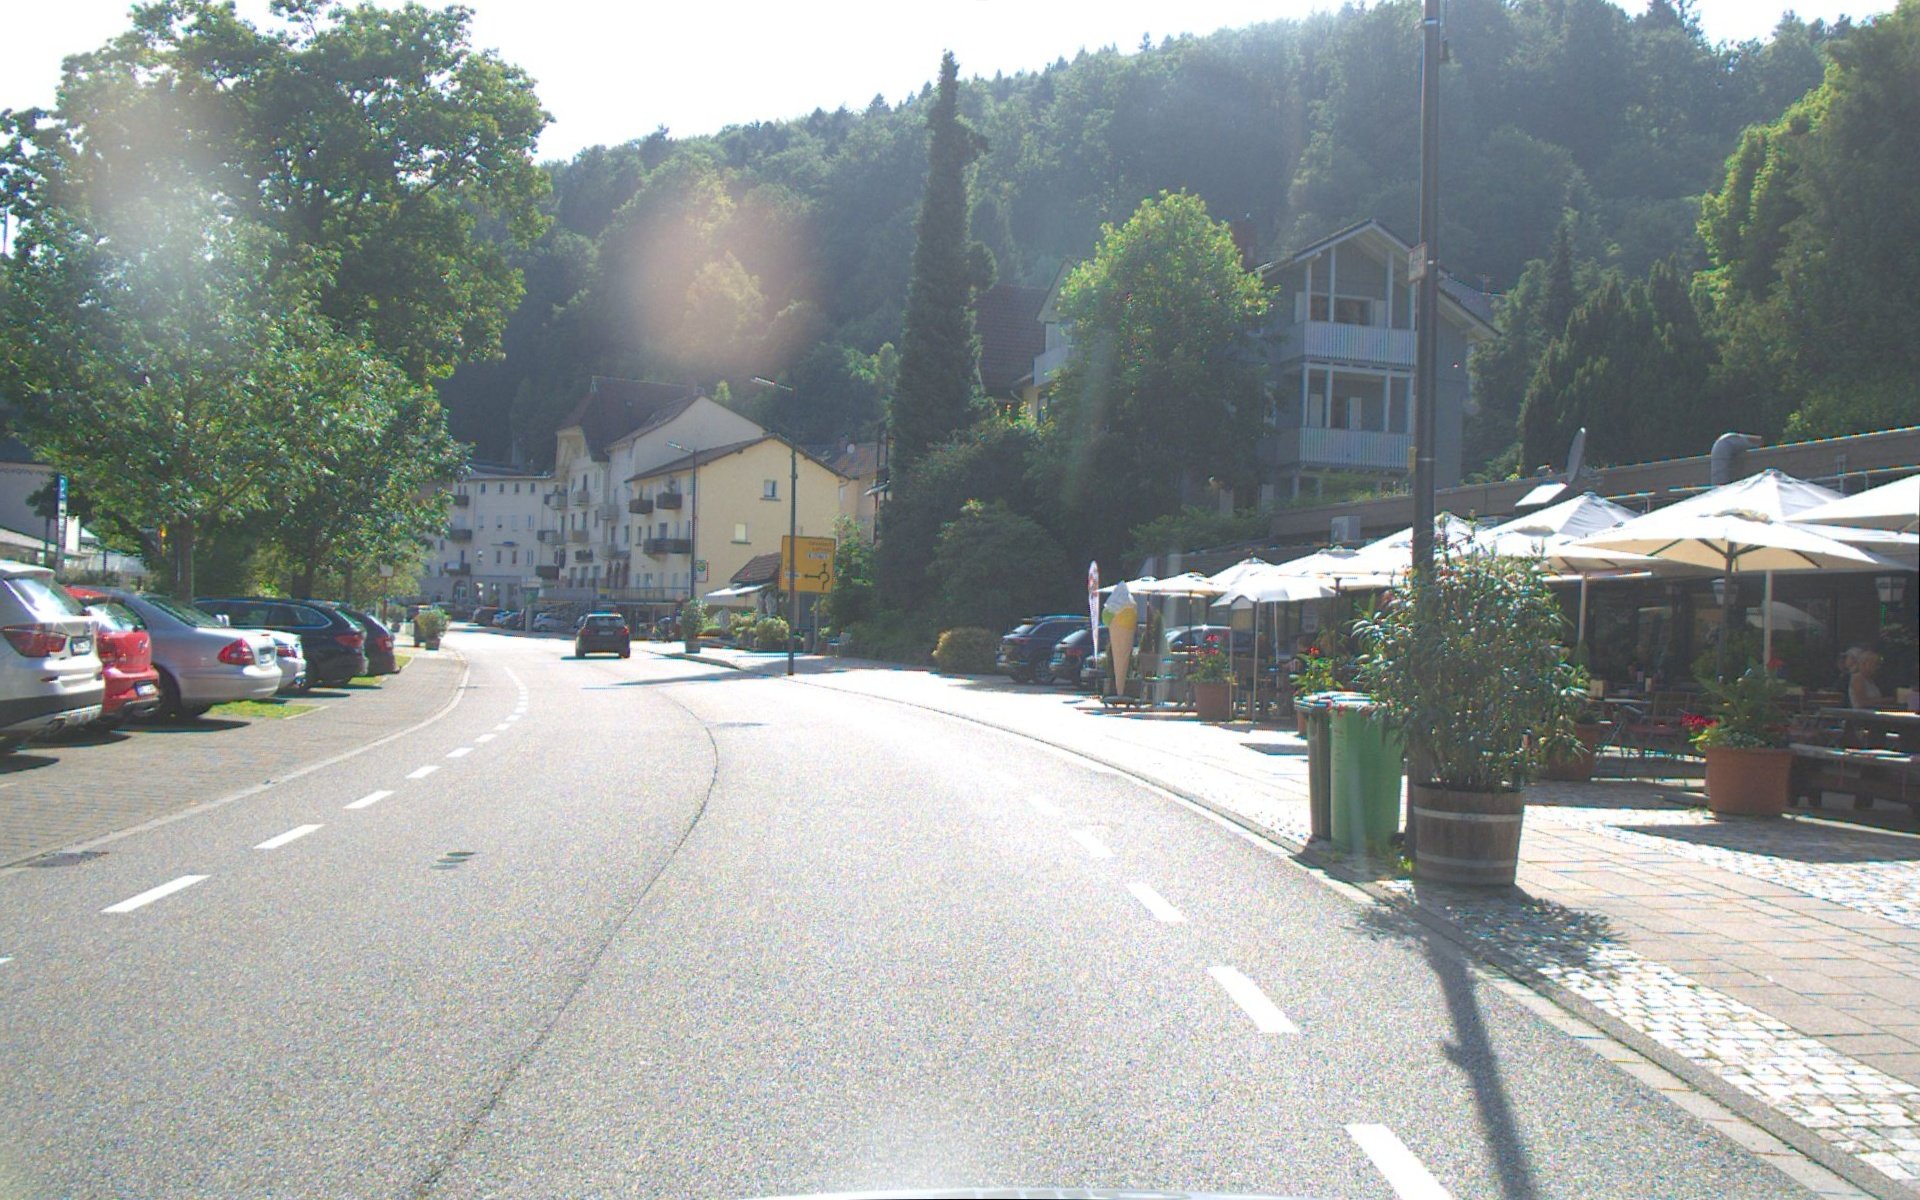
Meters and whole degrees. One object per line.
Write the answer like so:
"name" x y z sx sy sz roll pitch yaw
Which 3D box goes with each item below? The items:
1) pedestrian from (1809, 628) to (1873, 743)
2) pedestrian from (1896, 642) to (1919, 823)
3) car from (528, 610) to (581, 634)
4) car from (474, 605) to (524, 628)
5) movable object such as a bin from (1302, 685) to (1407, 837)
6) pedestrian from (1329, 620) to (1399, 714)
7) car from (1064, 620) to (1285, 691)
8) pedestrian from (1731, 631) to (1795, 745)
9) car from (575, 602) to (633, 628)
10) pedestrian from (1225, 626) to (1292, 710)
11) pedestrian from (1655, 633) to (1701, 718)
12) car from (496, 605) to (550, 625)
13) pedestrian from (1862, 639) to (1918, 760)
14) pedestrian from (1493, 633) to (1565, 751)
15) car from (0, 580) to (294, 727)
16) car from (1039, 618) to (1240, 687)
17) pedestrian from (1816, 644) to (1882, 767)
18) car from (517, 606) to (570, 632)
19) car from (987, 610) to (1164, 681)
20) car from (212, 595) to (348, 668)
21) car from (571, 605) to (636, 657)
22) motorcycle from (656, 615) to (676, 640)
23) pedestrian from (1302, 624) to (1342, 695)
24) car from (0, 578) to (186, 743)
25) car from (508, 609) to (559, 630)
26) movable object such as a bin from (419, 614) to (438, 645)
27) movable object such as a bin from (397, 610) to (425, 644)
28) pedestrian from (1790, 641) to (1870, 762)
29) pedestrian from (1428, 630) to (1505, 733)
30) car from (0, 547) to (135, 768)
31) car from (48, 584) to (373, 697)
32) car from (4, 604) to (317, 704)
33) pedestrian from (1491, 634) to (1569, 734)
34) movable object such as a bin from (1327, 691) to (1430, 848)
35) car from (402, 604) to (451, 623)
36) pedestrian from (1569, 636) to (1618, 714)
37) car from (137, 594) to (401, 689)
"pedestrian" 10.406 0.996 19.532 0.569 1.305 0.635 0 0 38
"pedestrian" 7.460 0.967 12.069 0.933 1.306 0.642 0 0 -18
"car" -33.031 1.781 134.777 3.862 1.617 1.760 5 -2 -27
"car" -41.573 1.511 149.237 4.035 1.695 1.757 6 -2 -27
"movable object such as a bin" 2.586 1.046 10.874 0.537 0.942 0.519 0 0 -6
"pedestrian" 6.217 1.015 25.453 0.798 1.405 0.696 0 -1 44
"car" 4.391 1.139 33.974 4.192 1.403 1.702 1 -1 -16
"pedestrian" 9.669 1.041 19.908 0.569 1.327 0.635 0 0 38
"car" -26.284 1.114 122.132 3.817 1.582 1.743 5 -2 -29
"pedestrian" 4.696 1.056 26.031 0.799 1.283 0.695 1 -1 -25
"pedestrian" 11.435 1.188 26.341 0.671 1.322 0.637 0 -1 24
"car" -38.435 1.360 145.499 4.300 1.486 1.759 4 -3 -25
"pedestrian" 9.880 1.045 17.579 0.459 1.253 0.391 0 0 20
"pedestrian" 6.280 1.004 18.264 0.467 1.267 0.587 0 -1 -32
"car" -10.002 0.551 18.524 4.407 1.442 1.803 4 -2 -14
"car" 3.910 1.146 36.245 4.041 1.440 1.741 1 -1 -16
"pedestrian" 9.633 1.134 17.922 0.461 1.287 0.438 0 0 -20
"car" -34.534 1.583 137.112 3.862 1.836 1.842 6 -3 -27
"car" 2.710 1.067 39.081 3.811 1.608 1.741 1 -1 -15
"car" -16.116 0.755 39.336 2.603 1.574 1.678 3 -2 -11
"car" -12.623 1.081 58.445 1.702 1.602 3.731 3 0 -20
"motorcycle" -15.956 1.470 89.748 0.687 1.319 2.199 -1 0 -20
"pedestrian" 6.747 1.101 30.856 0.683 1.283 0.813 0 -1 10
"car" -9.705 0.491 15.703 3.920 1.457 1.713 4 -2 -14
"car" -35.960 1.669 139.406 3.862 1.486 1.721 5 -2 -27
"movable object such as a bin" -24.416 1.332 75.943 0.744 1.365 1.287 4 -2 -19
"movable object such as a bin" -24.461 1.188 73.677 1.062 1.452 1.369 4 -2 -20
"pedestrian" 9.820 1.133 18.677 0.521 1.327 0.606 0 0 -19
"pedestrian" 6.502 1.032 21.249 0.793 1.283 0.701 0 -1 3
"car" -9.319 0.346 13.277 4.407 1.692 1.803 4 -2 -14
"car" -11.763 0.650 26.288 4.423 1.536 1.704 3 -1 -18
"car" -11.321 0.777 23.699 3.734 1.265 1.754 2 -1 -17
"pedestrian" 7.567 1.096 21.951 0.797 1.283 0.697 0 -1 39
"movable object such as a bin" 2.606 1.045 10.318 0.504 0.928 0.441 0 0 -6
"car" -49.926 1.251 154.876 3.958 1.691 1.974 0 0 -37
"pedestrian" 10.260 1.201 26.807 0.671 1.230 0.701 0 -1 16
"car" -12.430 0.759 29.963 4.216 1.457 1.701 4 -2 -23
